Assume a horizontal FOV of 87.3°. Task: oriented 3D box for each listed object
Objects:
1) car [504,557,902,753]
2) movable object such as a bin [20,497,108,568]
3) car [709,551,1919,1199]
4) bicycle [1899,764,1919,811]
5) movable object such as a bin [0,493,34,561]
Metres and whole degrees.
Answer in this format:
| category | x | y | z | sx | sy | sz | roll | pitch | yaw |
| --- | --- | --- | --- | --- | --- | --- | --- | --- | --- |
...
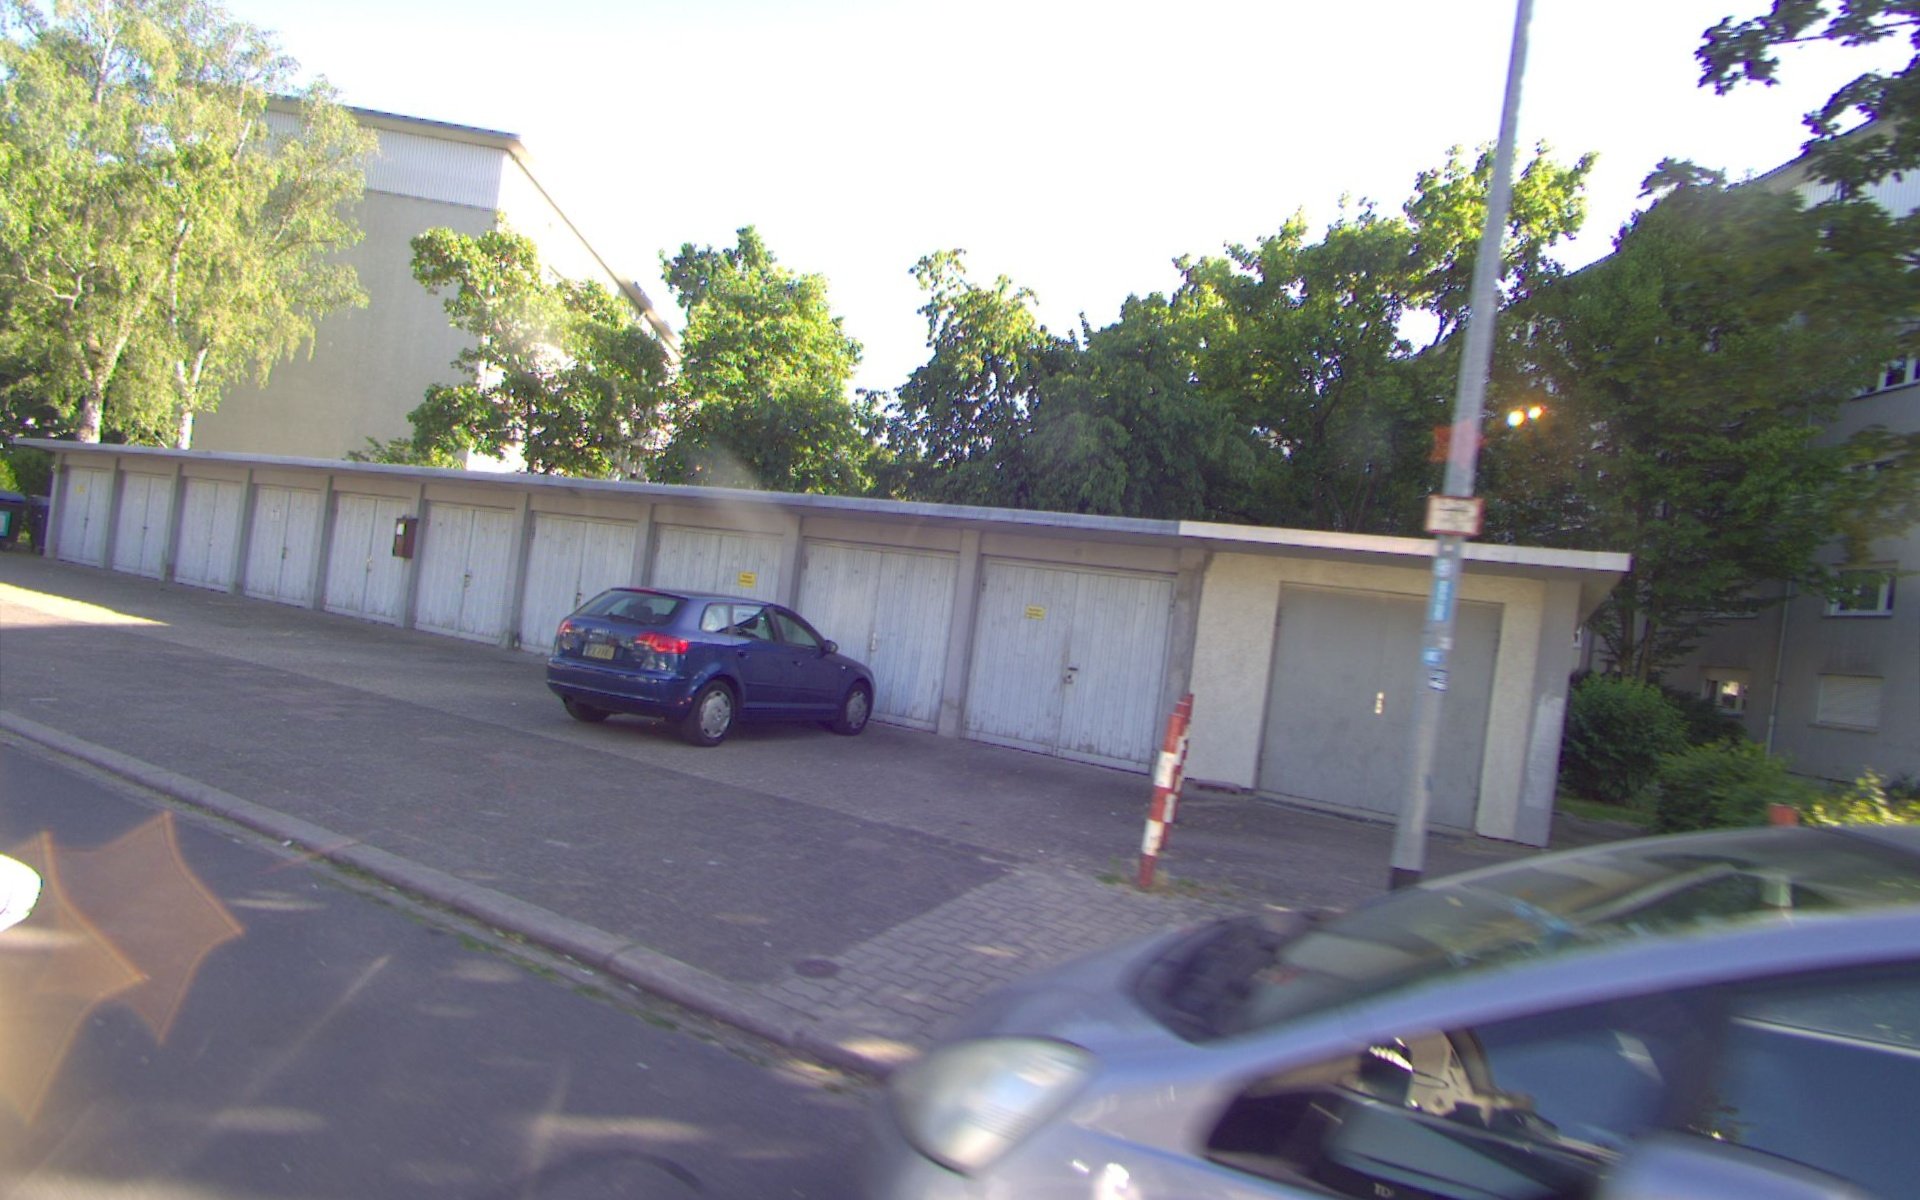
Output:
| category | x | y | z | sx | sy | sz | roll | pitch | yaw |
| --- | --- | --- | --- | --- | --- | --- | --- | --- | --- |
| car | -2.476 | 0.626 | 10.870 | 1.785 | 1.512 | 4.195 | 7 | -1 | 25 |
| movable object such as a bin | -22.720 | -1.695 | 25.524 | 1.114 | 1.484 | 1.278 | 11 | 2 | 31 |
| car | 1.678 | 0.958 | 1.476 | 3.730 | 1.512 | 1.808 | 7 | -1 | 29 |
| bicycle | 19.126 | 3.742 | 18.879 | 0.537 | 0.853 | 2.415 | 8 | 0 | -3 |
| movable object such as a bin | -23.643 | -1.846 | 24.449 | 1.114 | 1.484 | 1.278 | 11 | 2 | 31 |
